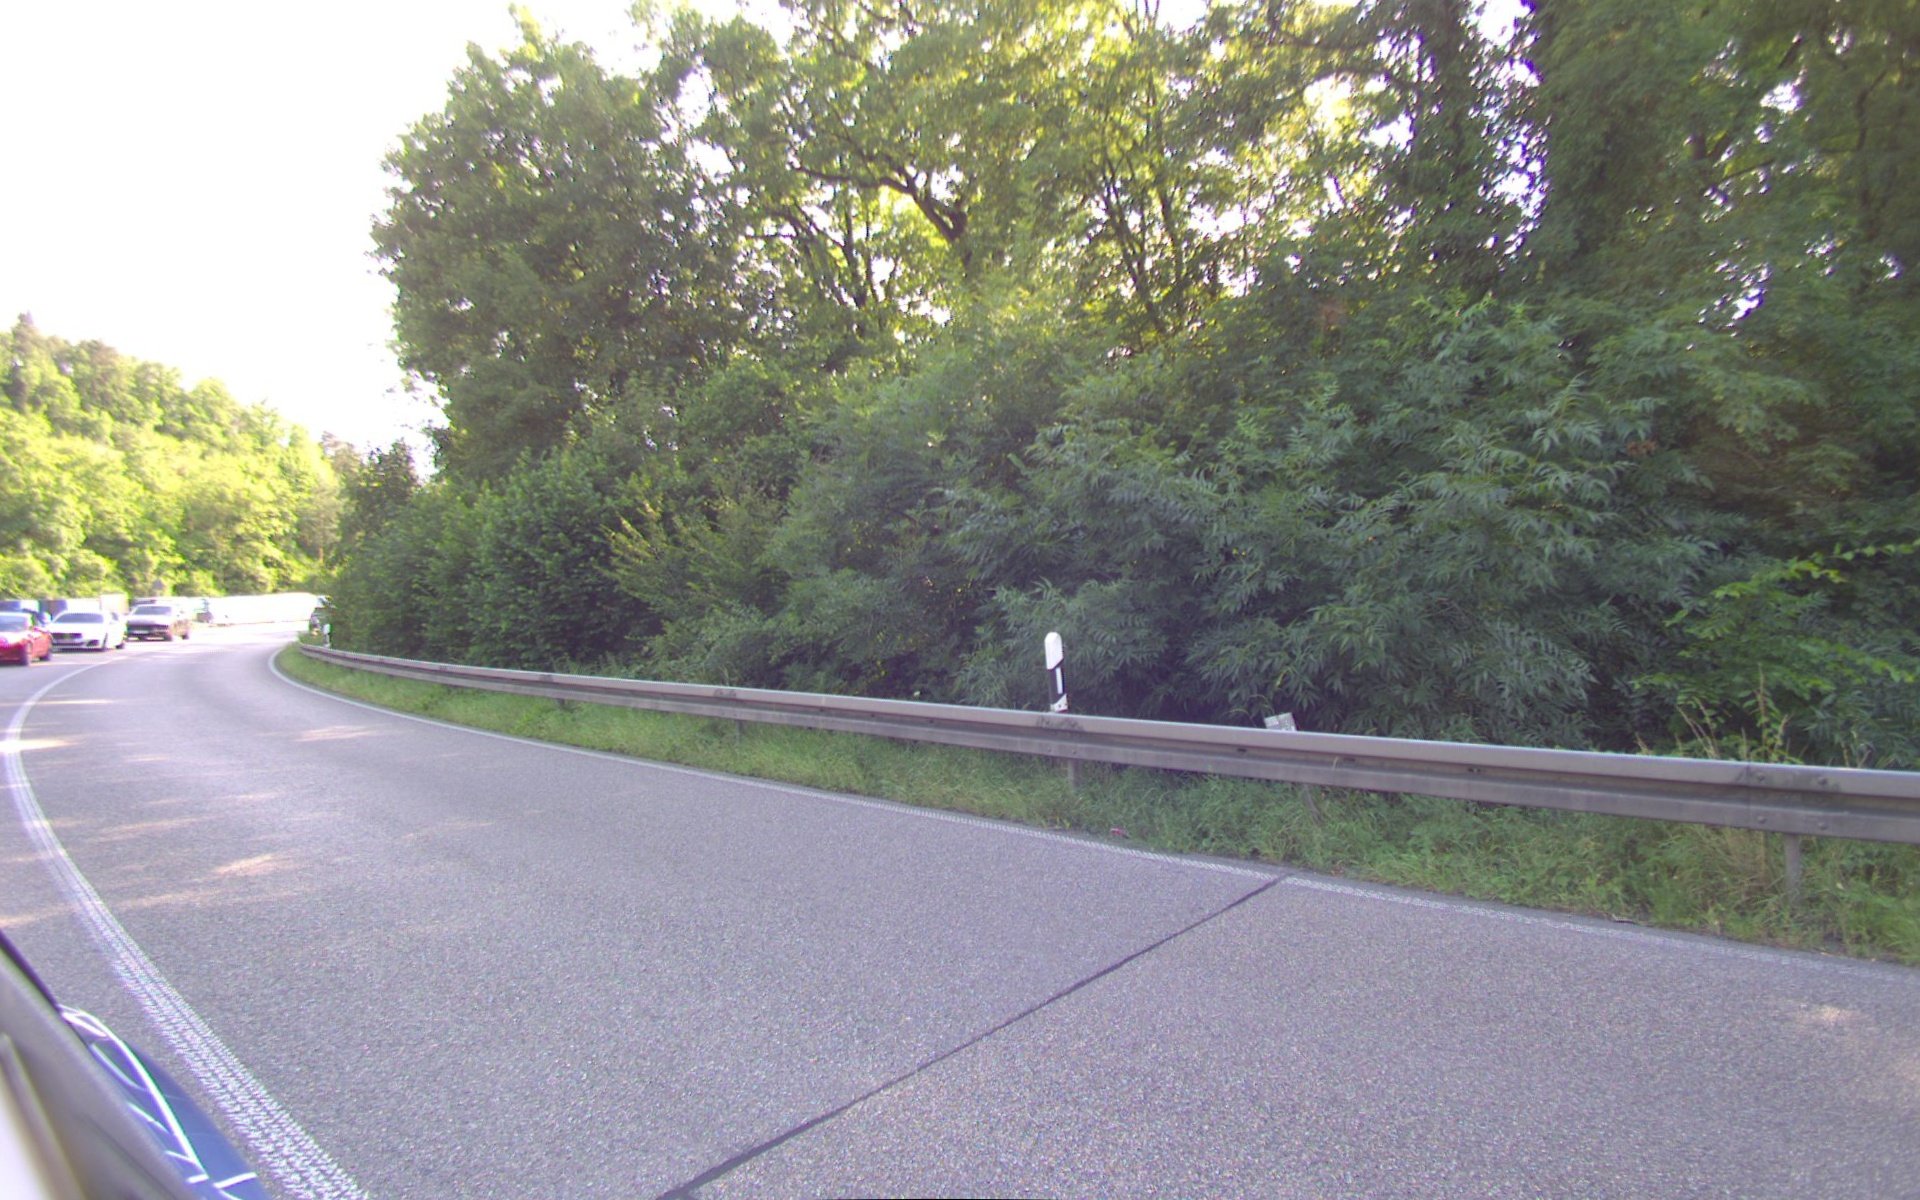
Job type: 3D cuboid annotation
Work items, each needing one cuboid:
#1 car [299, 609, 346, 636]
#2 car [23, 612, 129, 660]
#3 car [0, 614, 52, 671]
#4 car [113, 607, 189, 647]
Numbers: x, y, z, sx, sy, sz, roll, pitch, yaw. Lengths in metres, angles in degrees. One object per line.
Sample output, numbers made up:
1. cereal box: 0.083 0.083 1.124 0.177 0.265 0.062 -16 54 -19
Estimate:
1. car: -39.731 1.404 63.158 1.841 1.577 4.013 -1 -1 -23
2. car: -31.593 1.223 36.307 1.884 1.476 4.551 -3 1 -29
3. car: -26.728 1.143 28.027 1.830 1.431 4.430 -1 0 -35
4. car: -36.549 1.159 45.834 1.829 1.608 4.551 -3 1 -28
